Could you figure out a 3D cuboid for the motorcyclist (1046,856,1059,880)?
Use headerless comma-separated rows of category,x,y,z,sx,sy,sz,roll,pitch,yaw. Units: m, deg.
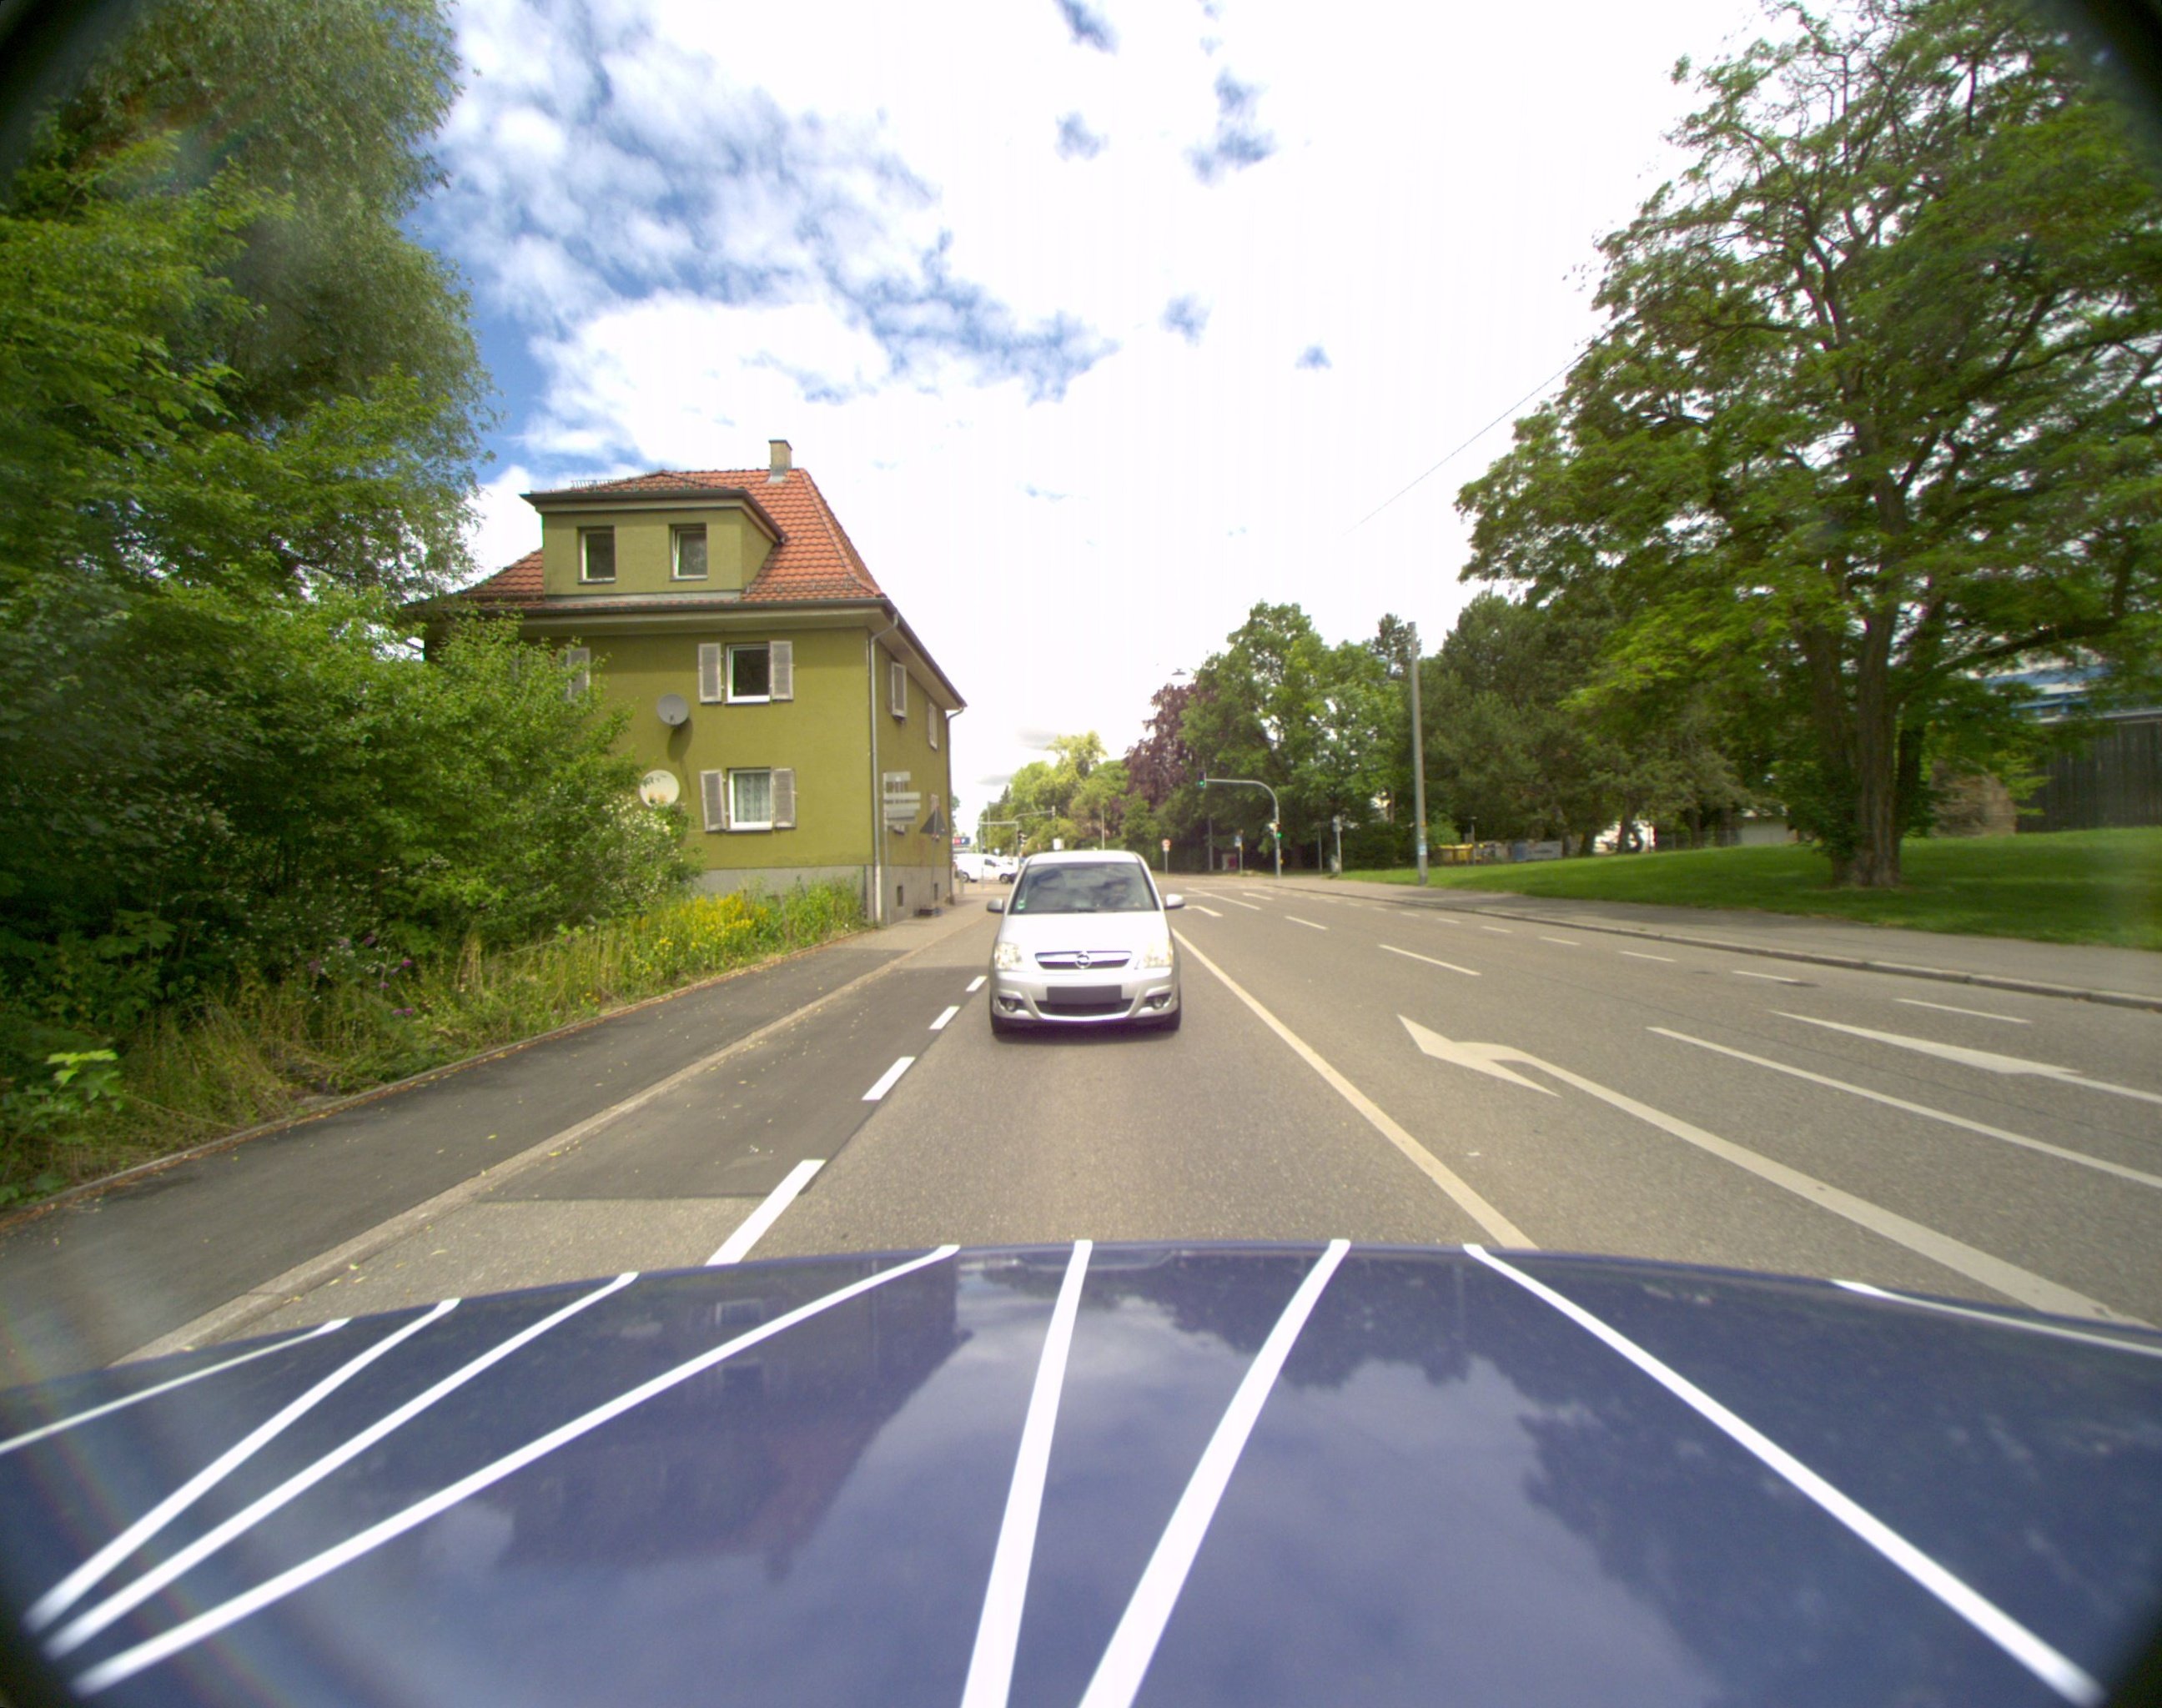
motorcyclist,-1.821,0.895,48.528,0.837,1.547,0.650,0,1,0

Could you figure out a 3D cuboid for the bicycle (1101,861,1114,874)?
bicycle,2.253,1.168,65.894,0.814,1.101,1.799,-3,0,-7

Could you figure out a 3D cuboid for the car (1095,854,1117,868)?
car,2.847,0.788,86.085,1.900,1.501,3.998,-1,0,-7

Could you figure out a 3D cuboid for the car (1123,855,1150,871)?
car,5.254,0.866,72.383,1.900,1.501,3.998,-1,0,-7

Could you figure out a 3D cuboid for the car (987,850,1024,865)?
car,-9.500,0.424,95.383,4.490,1.787,1.804,0,1,32

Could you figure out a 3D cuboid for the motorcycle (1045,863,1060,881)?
motorcycle,-1.809,1.164,48.453,0.837,1.101,1.800,0,0,0

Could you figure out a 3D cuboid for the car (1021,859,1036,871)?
car,-7.158,1.522,103.943,1.799,1.501,4.000,-4,0,0

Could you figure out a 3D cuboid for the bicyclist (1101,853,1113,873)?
bicyclist,2.236,0.777,65.838,0.807,1.599,0.771,-3,1,-7

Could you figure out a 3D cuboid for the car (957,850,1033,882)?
car,-5.455,0.767,48.553,4.363,1.983,2.002,-1,1,13

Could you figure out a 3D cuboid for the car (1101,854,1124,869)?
car,3.353,0.811,81.468,1.900,1.501,3.998,-1,0,-7

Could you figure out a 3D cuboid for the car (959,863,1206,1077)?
car,0.064,0.898,7.693,1.780,1.519,4.001,-3,-1,2
